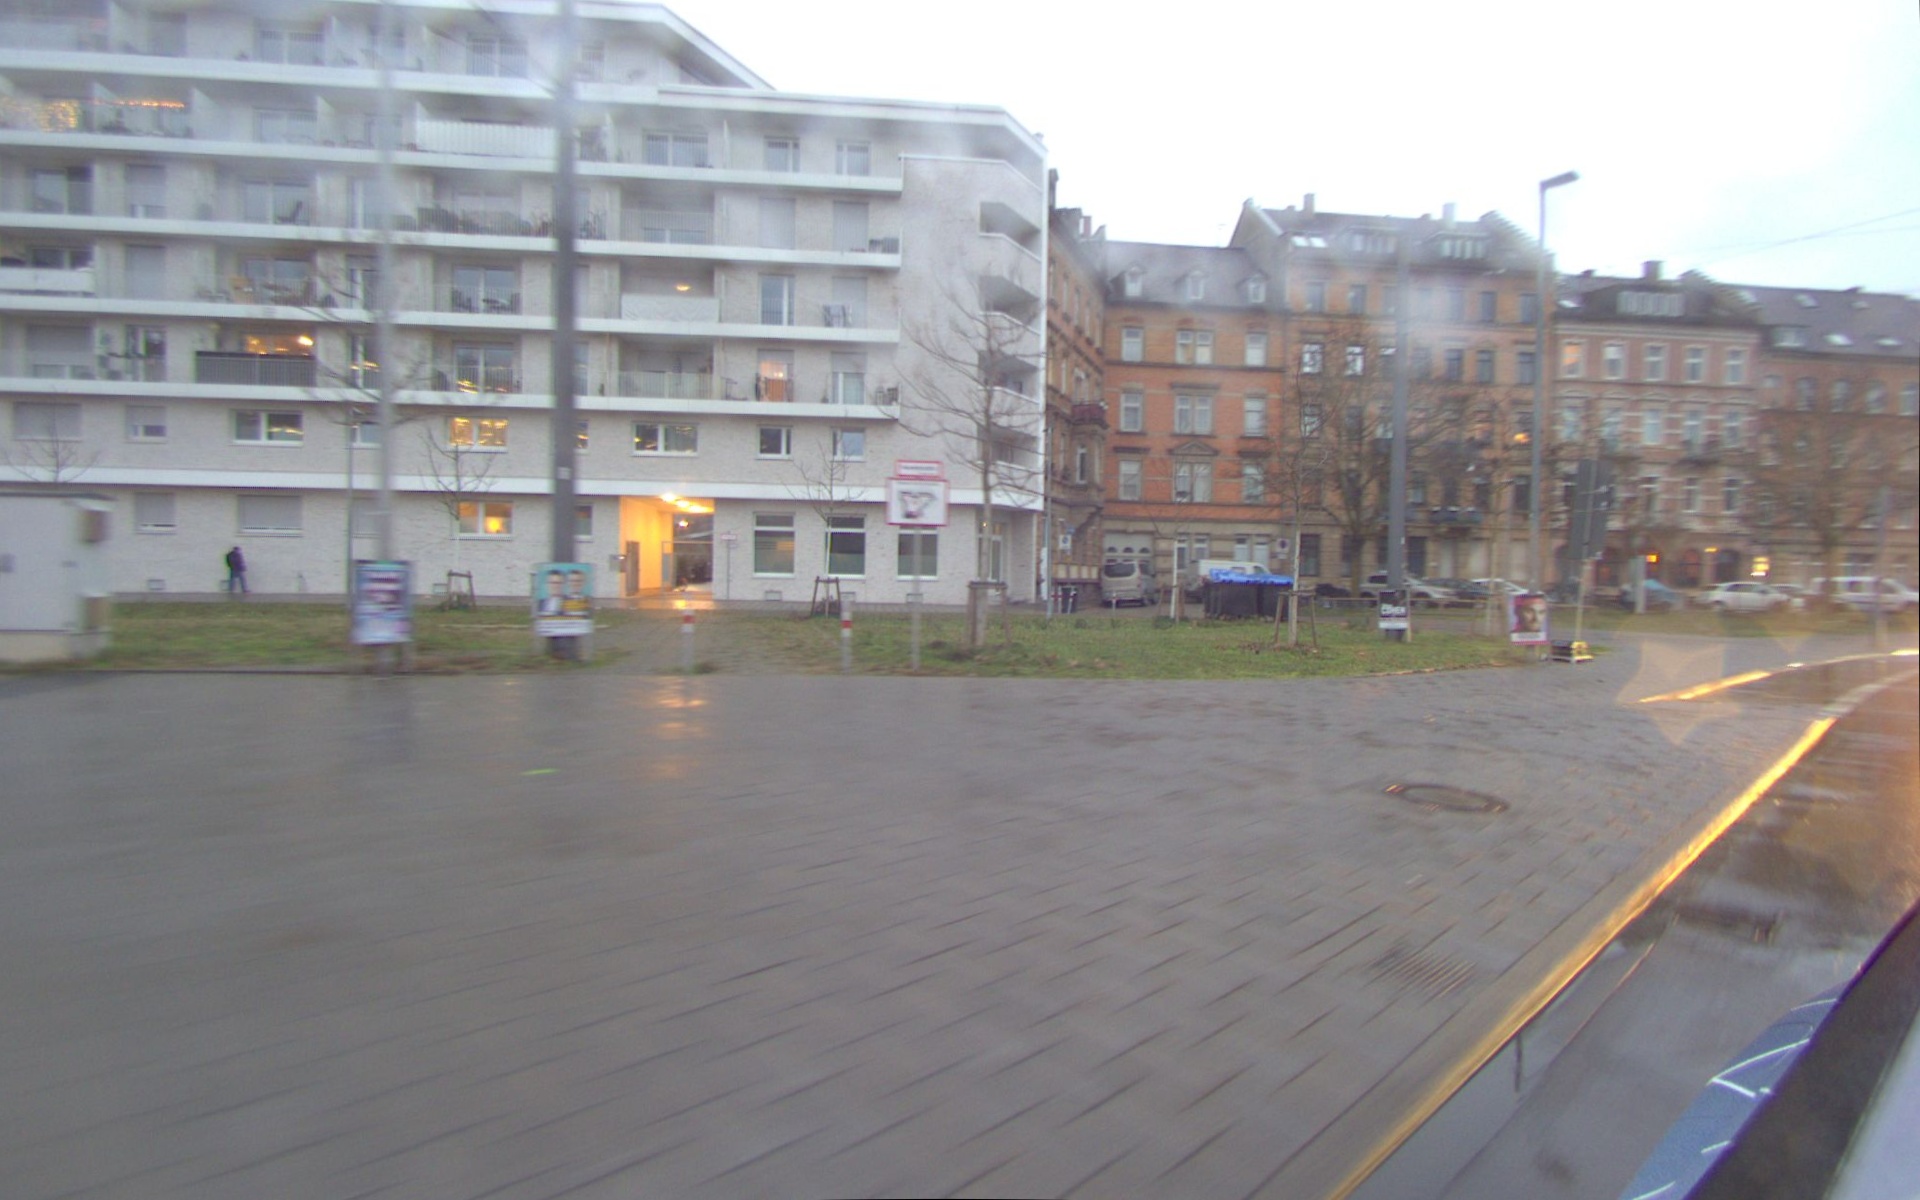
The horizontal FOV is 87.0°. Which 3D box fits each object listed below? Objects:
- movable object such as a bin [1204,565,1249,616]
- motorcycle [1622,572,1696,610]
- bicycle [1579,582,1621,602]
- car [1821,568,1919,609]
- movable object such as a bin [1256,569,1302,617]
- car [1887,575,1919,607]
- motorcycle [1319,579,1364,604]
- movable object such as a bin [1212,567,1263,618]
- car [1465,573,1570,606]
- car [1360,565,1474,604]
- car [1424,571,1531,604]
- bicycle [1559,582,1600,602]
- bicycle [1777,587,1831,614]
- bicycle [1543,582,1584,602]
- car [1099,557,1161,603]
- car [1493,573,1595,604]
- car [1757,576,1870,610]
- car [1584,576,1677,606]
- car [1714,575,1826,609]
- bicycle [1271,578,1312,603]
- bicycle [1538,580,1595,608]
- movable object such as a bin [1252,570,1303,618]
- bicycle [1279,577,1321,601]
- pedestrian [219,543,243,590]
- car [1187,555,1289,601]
[{"bbox_3d":[8.568,-0.327,32.594,1.118,1.595,1.053,1,1,-1],"label":"movable object such as a bin"},{"bbox_3d":[28.715,-0.392,41.622,0.866,1.361,2.365,0,5,-22],"label":"motorcycle"},{"bbox_3d":[29.557,-0.372,46.783,0.386,0.827,1.800,1,3,-15],"label":"bicycle"},{"bbox_3d":[42.541,-0.547,46.396,1.748,1.790,4.345,0,2,-36],"label":"car"},{"bbox_3d":[10.241,-0.234,32.517,1.118,1.504,1.053,1,1,-1],"label":"movable object such as a bin"},{"bbox_3d":[45.499,-0.362,46.488,1.667,1.462,3.969,0,2,-31],"label":"car"},{"bbox_3d":[16.038,-0.357,42.577,0.503,0.942,1.796,-1,4,-35],"label":"motorcycle"},{"bbox_3d":[8.524,-0.252,31.162,1.229,1.529,1.053,1,1,-1],"label":"movable object such as a bin"},{"bbox_3d":[24.439,-0.494,44.480,1.637,1.322,3.688,0,2,-37],"label":"car"},{"bbox_3d":[19.571,-0.687,43.517,1.710,1.589,4.156,0,2,-37],"label":"car"},{"bbox_3d":[22.207,-0.562,43.533,1.710,1.322,3.688,0,2,-37],"label":"car"},{"bbox_3d":[28.415,-0.366,46.471,0.436,0.787,1.800,1,3,-12],"label":"bicycle"},{"bbox_3d":[33.900,0.003,40.672,0.437,0.942,1.799,1,3,-8],"label":"bicycle"},{"bbox_3d":[27.736,-0.389,46.539,0.436,0.804,1.800,1,3,-12],"label":"bicycle"},{"bbox_3d":[7.752,-0.933,45.830,1.919,1.966,4.569,1,2,20],"label":"car"},{"bbox_3d":[26.425,-0.549,45.872,1.493,1.322,3.688,0,2,-37],"label":"car"},{"bbox_3d":[39.297,-0.336,46.666,1.492,1.454,3.689,0,2,-35],"label":"car"},{"bbox_3d":[31.465,-0.426,47.573,1.492,1.322,3.302,0,2,-35],"label":"car"},{"bbox_3d":[36.713,-0.401,45.940,1.492,1.417,3.689,0,2,-35],"label":"car"},{"bbox_3d":[13.889,-0.416,42.450,0.437,0.942,1.798,0,4,-30],"label":"bicycle"},{"bbox_3d":[24.876,-0.245,41.540,1.879,1.031,0.535,2,3,14],"label":"bicycle"},{"bbox_3d":[9.849,-0.189,31.400,1.201,1.450,1.053,1,1,-1],"label":"movable object such as a bin"},{"bbox_3d":[14.341,-0.476,42.728,0.437,0.942,1.798,0,4,-30],"label":"bicycle"},{"bbox_3d":[-25.659,-1.180,35.632,0.620,1.652,0.723,0,1,-32],"label":"pedestrian"},{"bbox_3d":[14.124,-1.109,51.581,4.566,2.216,2.003,1,1,-8],"label":"car"}]
